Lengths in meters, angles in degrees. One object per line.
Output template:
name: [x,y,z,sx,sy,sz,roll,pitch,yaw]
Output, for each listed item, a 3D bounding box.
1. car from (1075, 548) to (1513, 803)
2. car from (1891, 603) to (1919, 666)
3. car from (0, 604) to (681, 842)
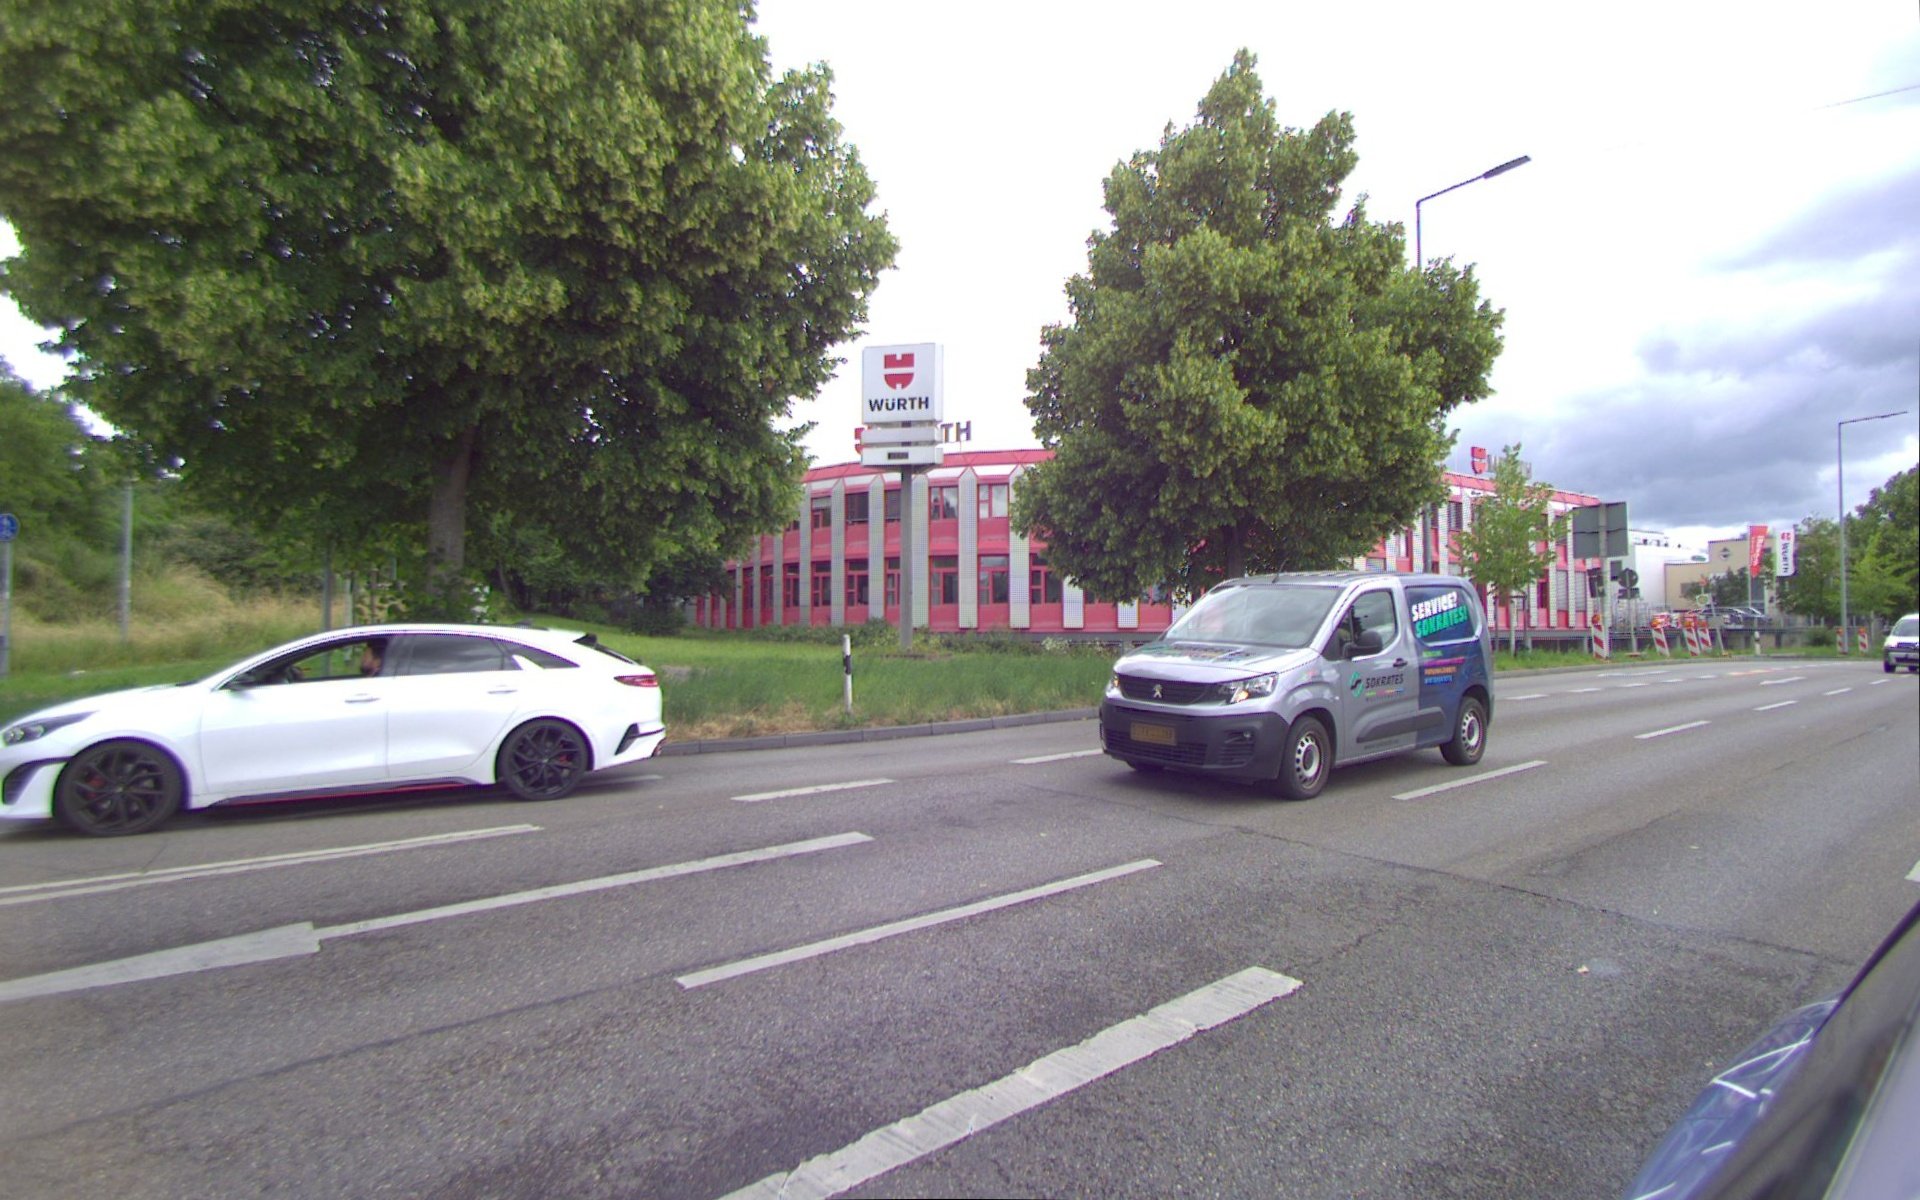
car: [3.151,0.521,9.169,4.145,1.802,1.813,0,0,-39]
car: [29.578,1.034,30.136,4.607,1.815,1.814,1,-1,-35]
car: [-4.663,0.804,8.082,4.421,1.438,1.838,-1,-2,-26]
